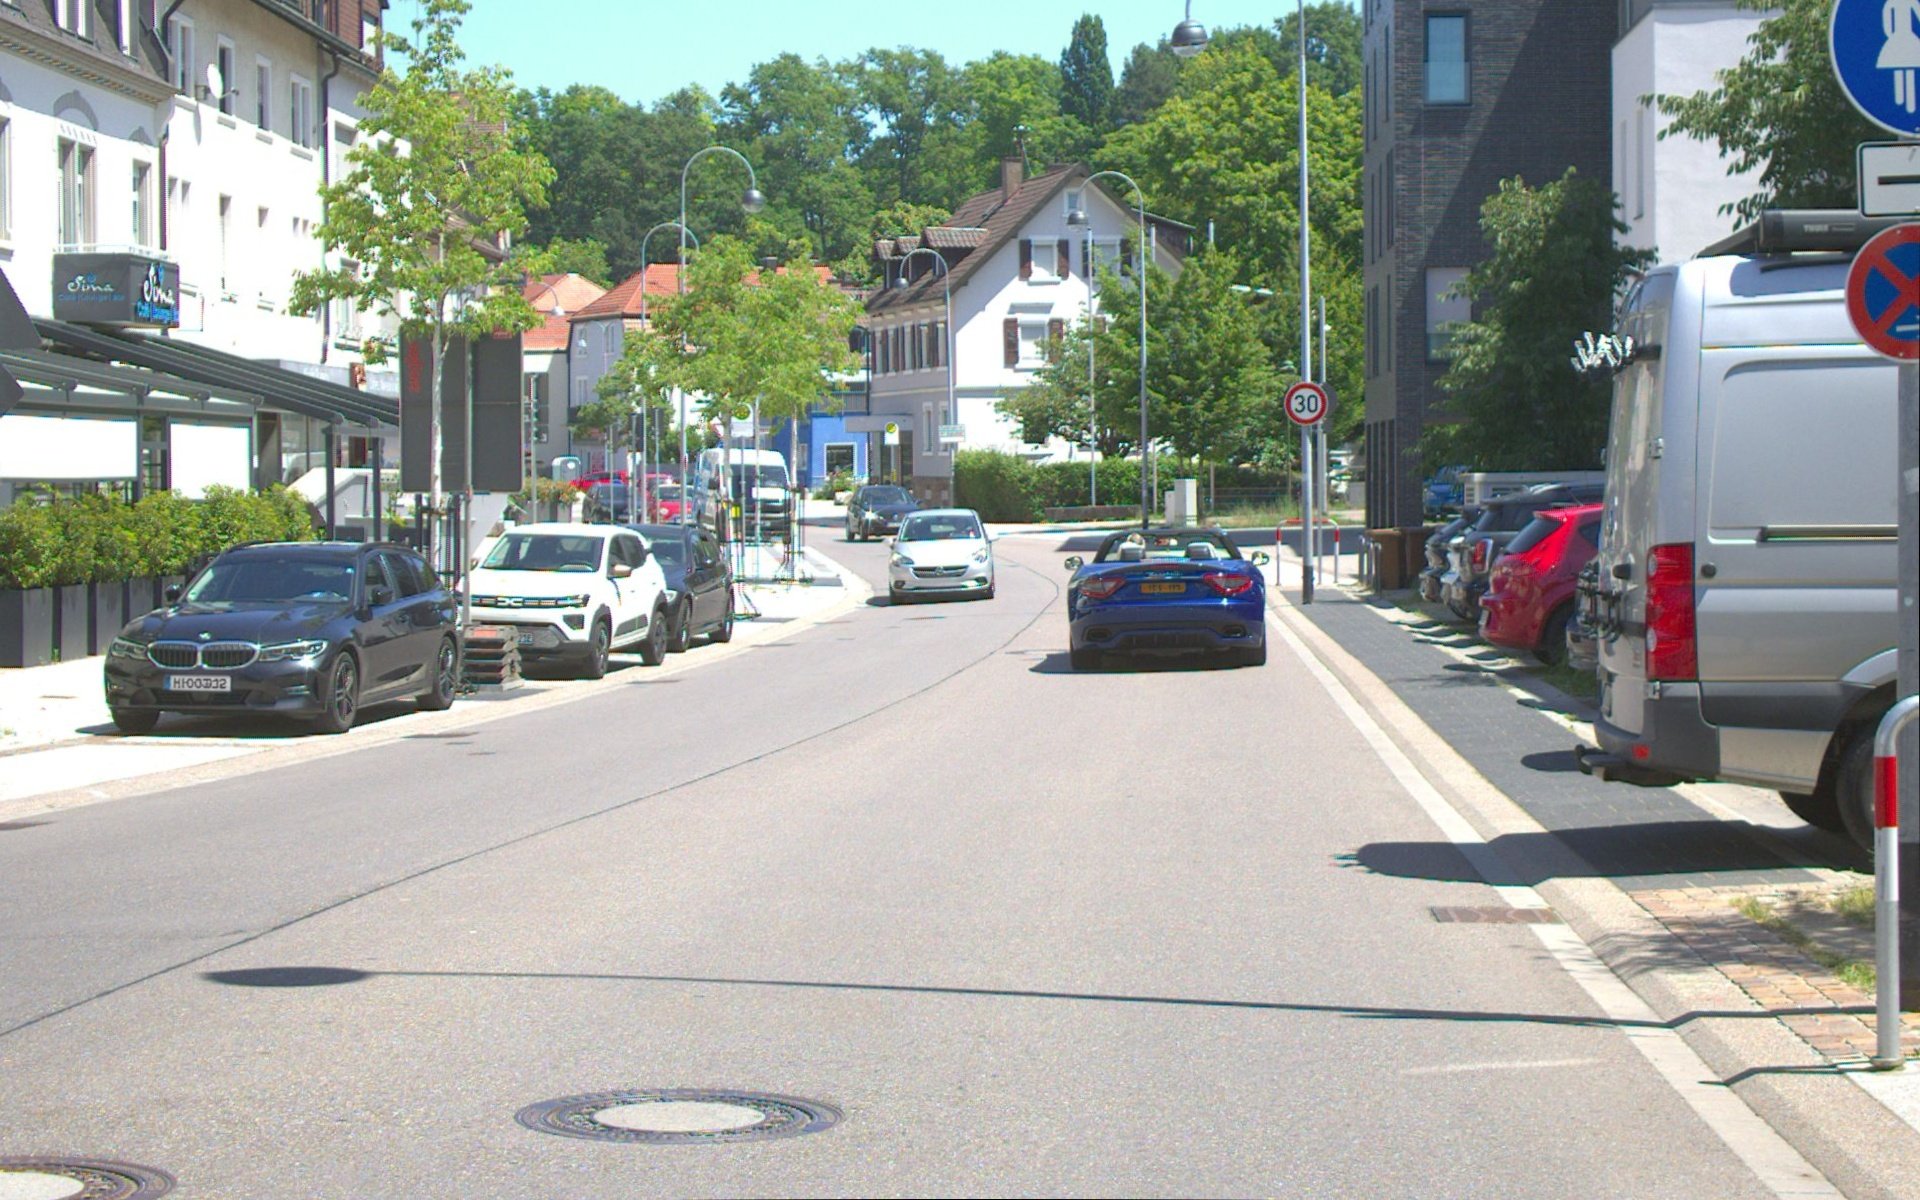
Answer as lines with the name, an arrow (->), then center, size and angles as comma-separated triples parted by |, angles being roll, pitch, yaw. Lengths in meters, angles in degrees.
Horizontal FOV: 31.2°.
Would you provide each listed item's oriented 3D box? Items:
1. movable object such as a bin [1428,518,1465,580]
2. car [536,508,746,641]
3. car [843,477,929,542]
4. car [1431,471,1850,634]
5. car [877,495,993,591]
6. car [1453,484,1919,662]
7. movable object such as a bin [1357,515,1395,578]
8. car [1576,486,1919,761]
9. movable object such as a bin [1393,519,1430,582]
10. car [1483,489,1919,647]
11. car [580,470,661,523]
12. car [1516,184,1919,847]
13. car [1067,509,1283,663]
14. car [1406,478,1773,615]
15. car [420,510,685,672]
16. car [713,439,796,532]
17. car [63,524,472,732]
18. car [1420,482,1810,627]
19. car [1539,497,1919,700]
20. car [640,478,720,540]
movable object such as a bin -> 7.433, -0.783, 52.567 | 0.495, 0.926, 0.623 | -2, 1, 5
car -> -3.723, -0.334, 40.740 | 1.670, 1.438, 4.009 | 0, 2, 7
car -> -1.985, -2.385, 90.833 | 1.660, 1.601, 4.001 | -3, 2, -9
car -> 6.908, -0.501, 35.249 | 3.981, 1.599, 1.943 | 0, 2, 3
car -> -0.380, -0.976, 57.046 | 1.687, 1.453, 4.058 | -2, 2, 2
car -> 6.385, -0.257, 29.881 | 3.971, 1.404, 1.857 | -1, 2, 3
movable object such as a bin -> 6.370, -0.821, 52.663 | 0.537, 0.926, 0.623 | -2, 1, 5
car -> 6.012, 0.095, 20.052 | 4.588, 1.524, 2.000 | 0, 2, 5
movable object such as a bin -> 6.909, -0.759, 52.608 | 0.495, 0.926, 0.623 | -2, 1, 5
car -> 7.033, -0.317, 32.464 | 3.981, 1.427, 1.763 | 0, 2, 3
car -> -11.135, -3.395, 112.555 | 1.993, 1.686, 4.002 | 0, 2, -15
car -> 5.547, -0.387, 15.111 | 5.940, 2.723, 2.196 | 0, 2, 4
car -> 2.216, -0.187, 34.327 | 1.871, 1.337, 4.595 | -2, 2, 7
car -> 7.222, -0.625, 39.723 | 3.981, 1.524, 1.740 | 0, 2, 3
car -> -4.105, -0.140, 35.197 | 1.645, 1.474, 3.940 | 2, 2, 9
car -> -5.502, -3.054, 91.595 | 1.866, 2.392, 4.820 | -1, 2, -7
car -> -5.446, 0.153, 27.698 | 1.835, 1.424, 4.782 | 1, 2, 7
car -> 7.124, -0.513, 37.725 | 3.981, 1.524, 1.943 | 0, 2, 3
car -> 6.532, -0.043, 25.218 | 4.257, 1.411, 1.928 | 0, 1, 1
car -> -8.212, -2.658, 100.510 | 1.993, 1.732, 4.001 | -1, 2, -9
